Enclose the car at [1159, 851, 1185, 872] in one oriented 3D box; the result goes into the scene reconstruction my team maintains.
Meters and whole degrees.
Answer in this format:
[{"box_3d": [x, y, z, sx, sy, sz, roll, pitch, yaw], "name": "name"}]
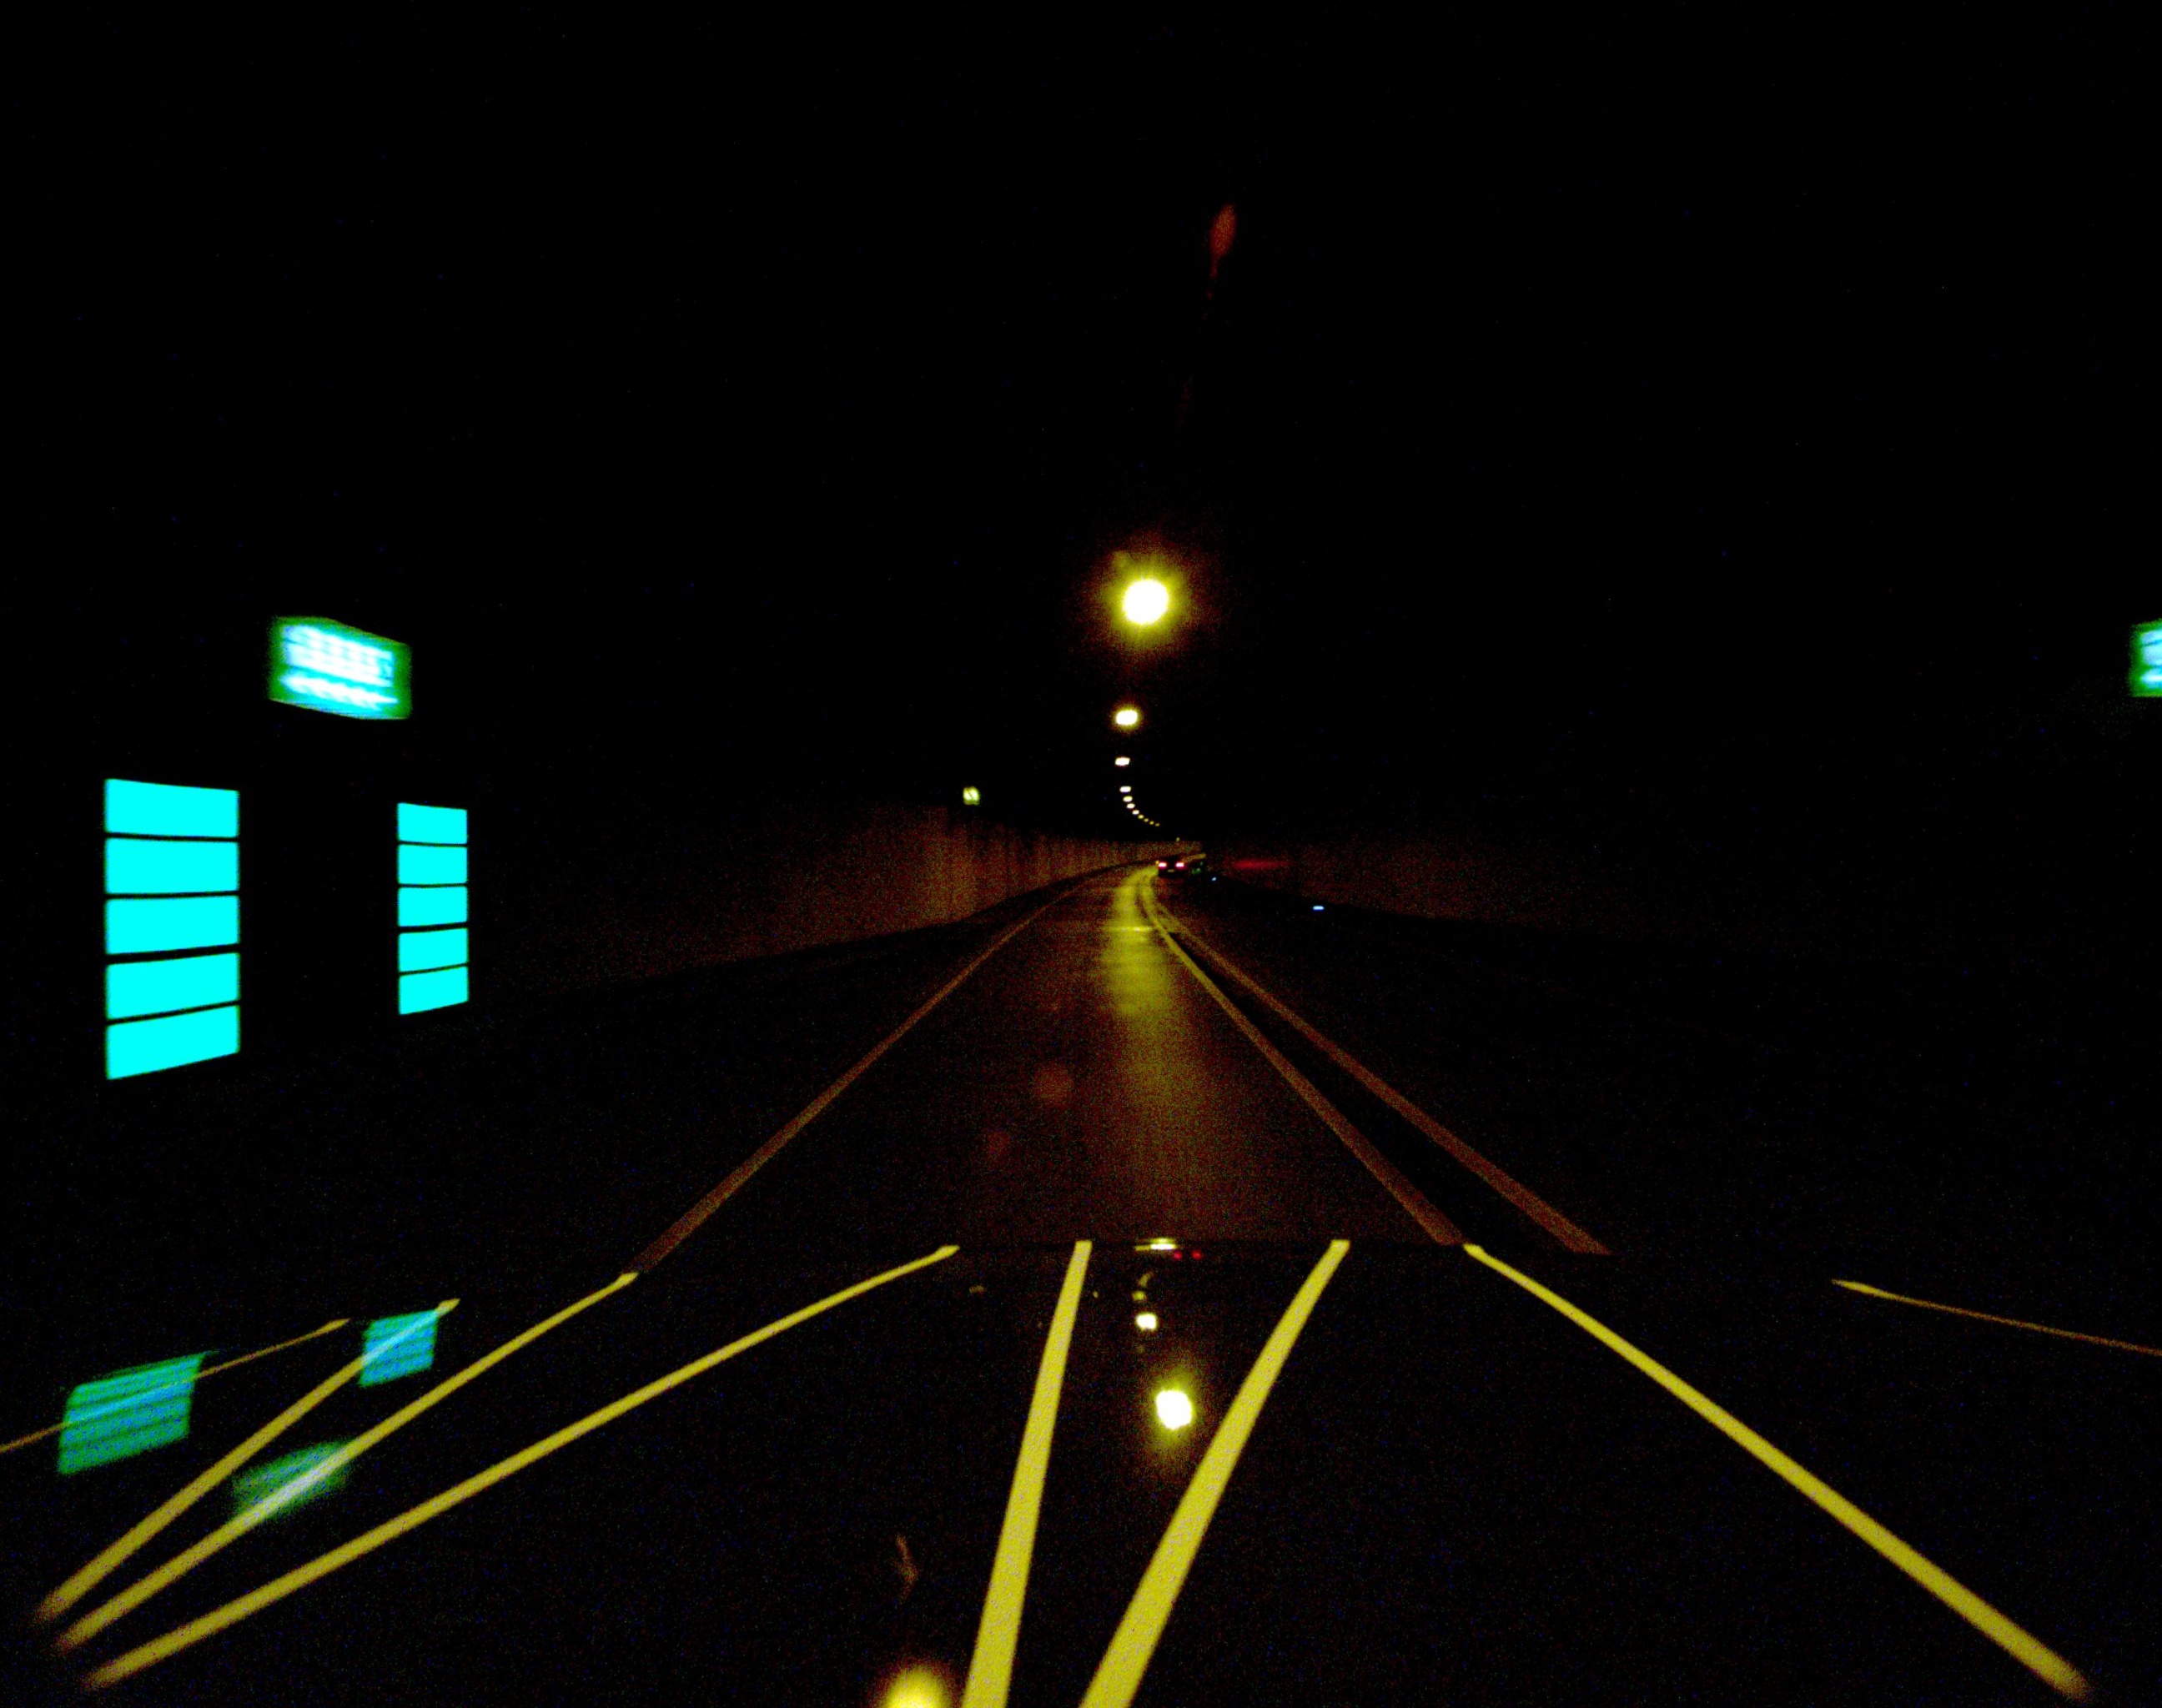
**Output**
[{"box_3d": [6.278, 0.500, 52.783, 1.711, 1.407, 4.119, -1, 0, 7], "name": "car"}]
